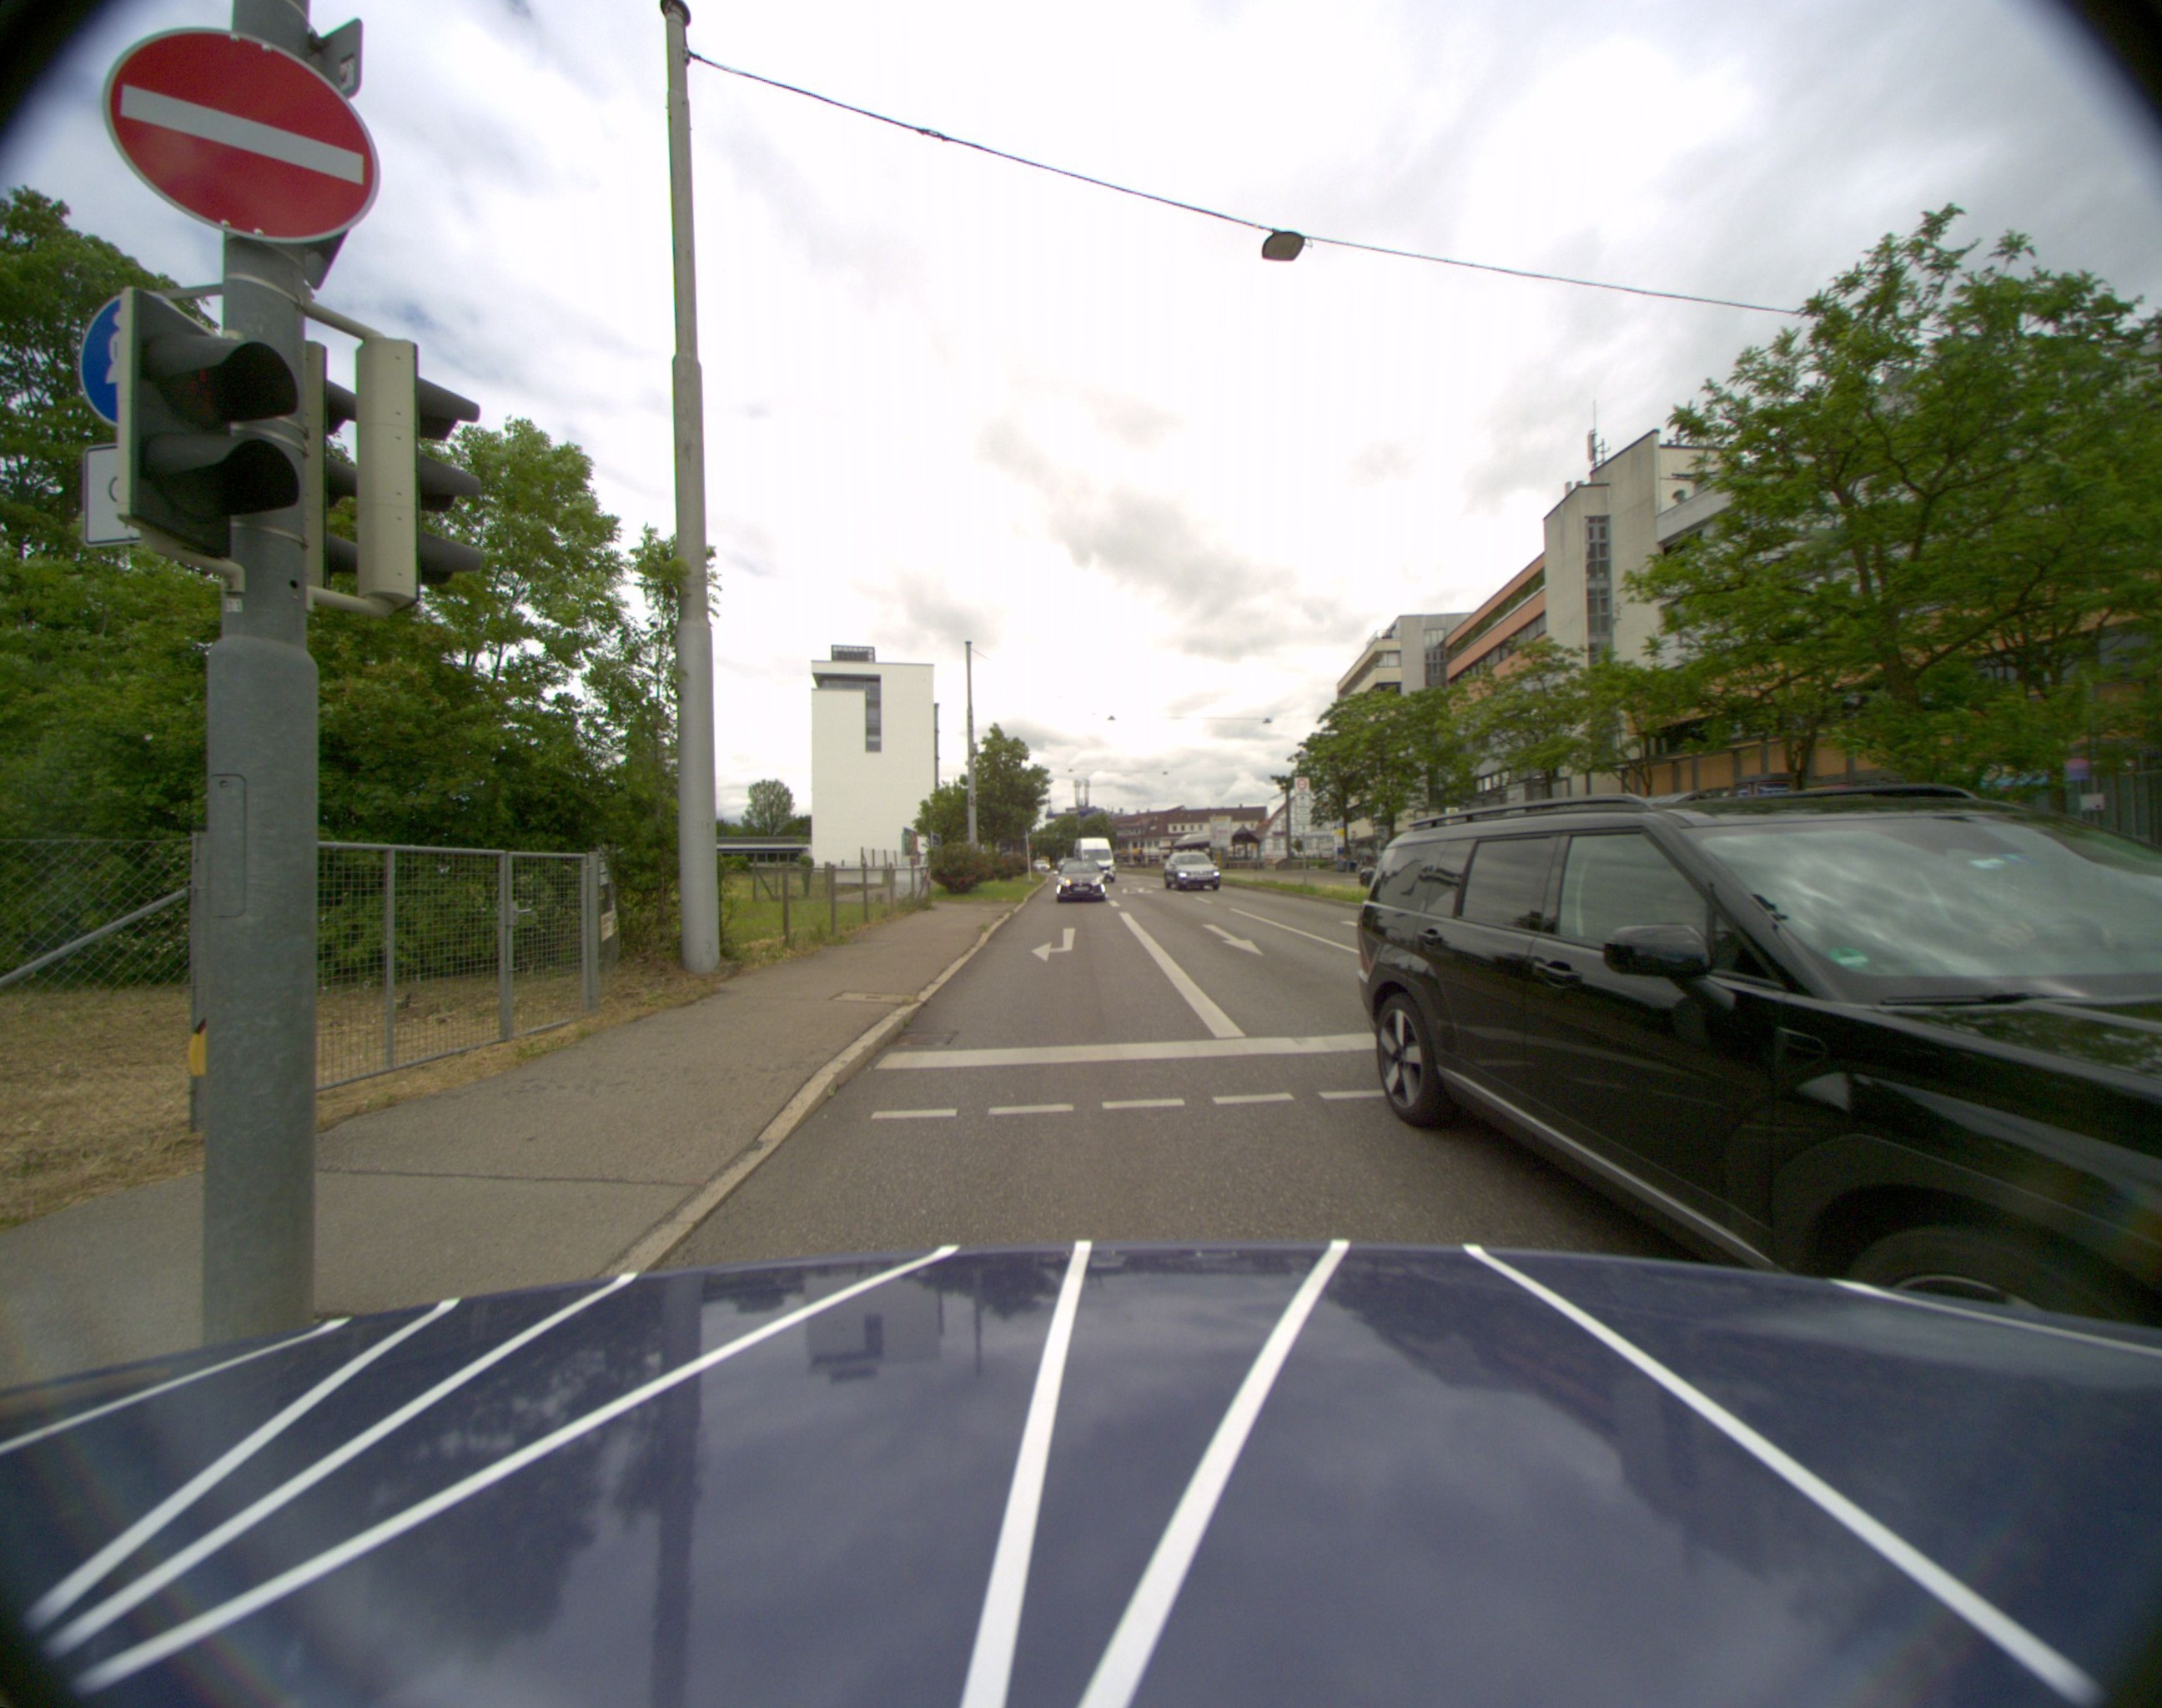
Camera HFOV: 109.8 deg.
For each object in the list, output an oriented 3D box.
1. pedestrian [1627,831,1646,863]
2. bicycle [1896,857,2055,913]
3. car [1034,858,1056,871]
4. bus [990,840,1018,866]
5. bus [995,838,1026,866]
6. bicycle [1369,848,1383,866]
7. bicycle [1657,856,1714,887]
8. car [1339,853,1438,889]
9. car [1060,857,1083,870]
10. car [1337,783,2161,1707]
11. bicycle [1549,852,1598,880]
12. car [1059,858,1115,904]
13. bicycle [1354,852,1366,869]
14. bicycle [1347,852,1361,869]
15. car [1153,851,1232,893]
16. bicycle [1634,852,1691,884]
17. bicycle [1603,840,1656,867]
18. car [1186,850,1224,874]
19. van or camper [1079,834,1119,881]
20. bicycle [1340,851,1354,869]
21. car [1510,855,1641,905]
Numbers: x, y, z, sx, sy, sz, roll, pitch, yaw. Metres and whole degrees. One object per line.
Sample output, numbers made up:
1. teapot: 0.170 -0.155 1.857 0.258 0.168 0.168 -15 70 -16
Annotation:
1. pedestrian: 29.152 -0.366 39.886 0.533 1.634 0.675 0 1 0
2. bicycle: 22.536 0.737 19.242 1.055 1.263 2.423 -3 0 -5
3. car: -4.275 1.202 89.341 2.001 1.368 3.995 -1 1 -12
4. bus: -10.533 -0.046 102.940 2.722 3.089 8.862 5 -2 -11
5. bus: -8.774 -0.102 94.070 2.722 3.144 9.119 3 -2 -11
6. bicycle: 21.216 0.223 54.559 0.625 1.246 1.687 0 1 32
7. bicycle: 24.100 0.678 30.280 2.073 1.147 0.711 -2 1 -16
8. car: 12.906 0.666 32.262 1.819 1.390 5.008 1 0 -5
9. car: -1.117 1.060 87.804 2.001 1.368 3.995 -1 1 -12
10. car: 2.692 0.733 2.706 1.927 1.741 4.678 -2 0 0
11. bicycle: 23.184 0.549 35.783 2.072 1.147 0.711 -4 1 -16
12. car: 0.163 0.947 27.780 1.863 1.516 4.000 -1 -1 -2
13. bicycle: 20.655 0.484 56.191 0.431 1.246 1.473 0 0 35
14. bicycle: 20.490 0.502 56.936 0.625 1.246 1.687 -1 0 33
15. car: 4.851 0.774 33.731 2.000 1.640 4.389 -3 0 -11
16. bicycle: 23.893 0.567 31.223 2.072 1.147 0.711 -4 2 -16
17. bicycle: 23.535 -0.023 32.618 2.073 1.147 0.711 -1 1 -16
18. car: 8.522 0.524 52.407 1.998 1.565 4.516 0 0 1
19. van or camper: 1.108 0.249 47.776 2.279 2.690 6.997 -1 -1 1
20. bicycle: 19.235 0.442 54.954 0.625 1.246 1.687 0 1 32
21. car: 16.670 0.810 25.868 1.752 1.509 3.999 -1 0 -2
